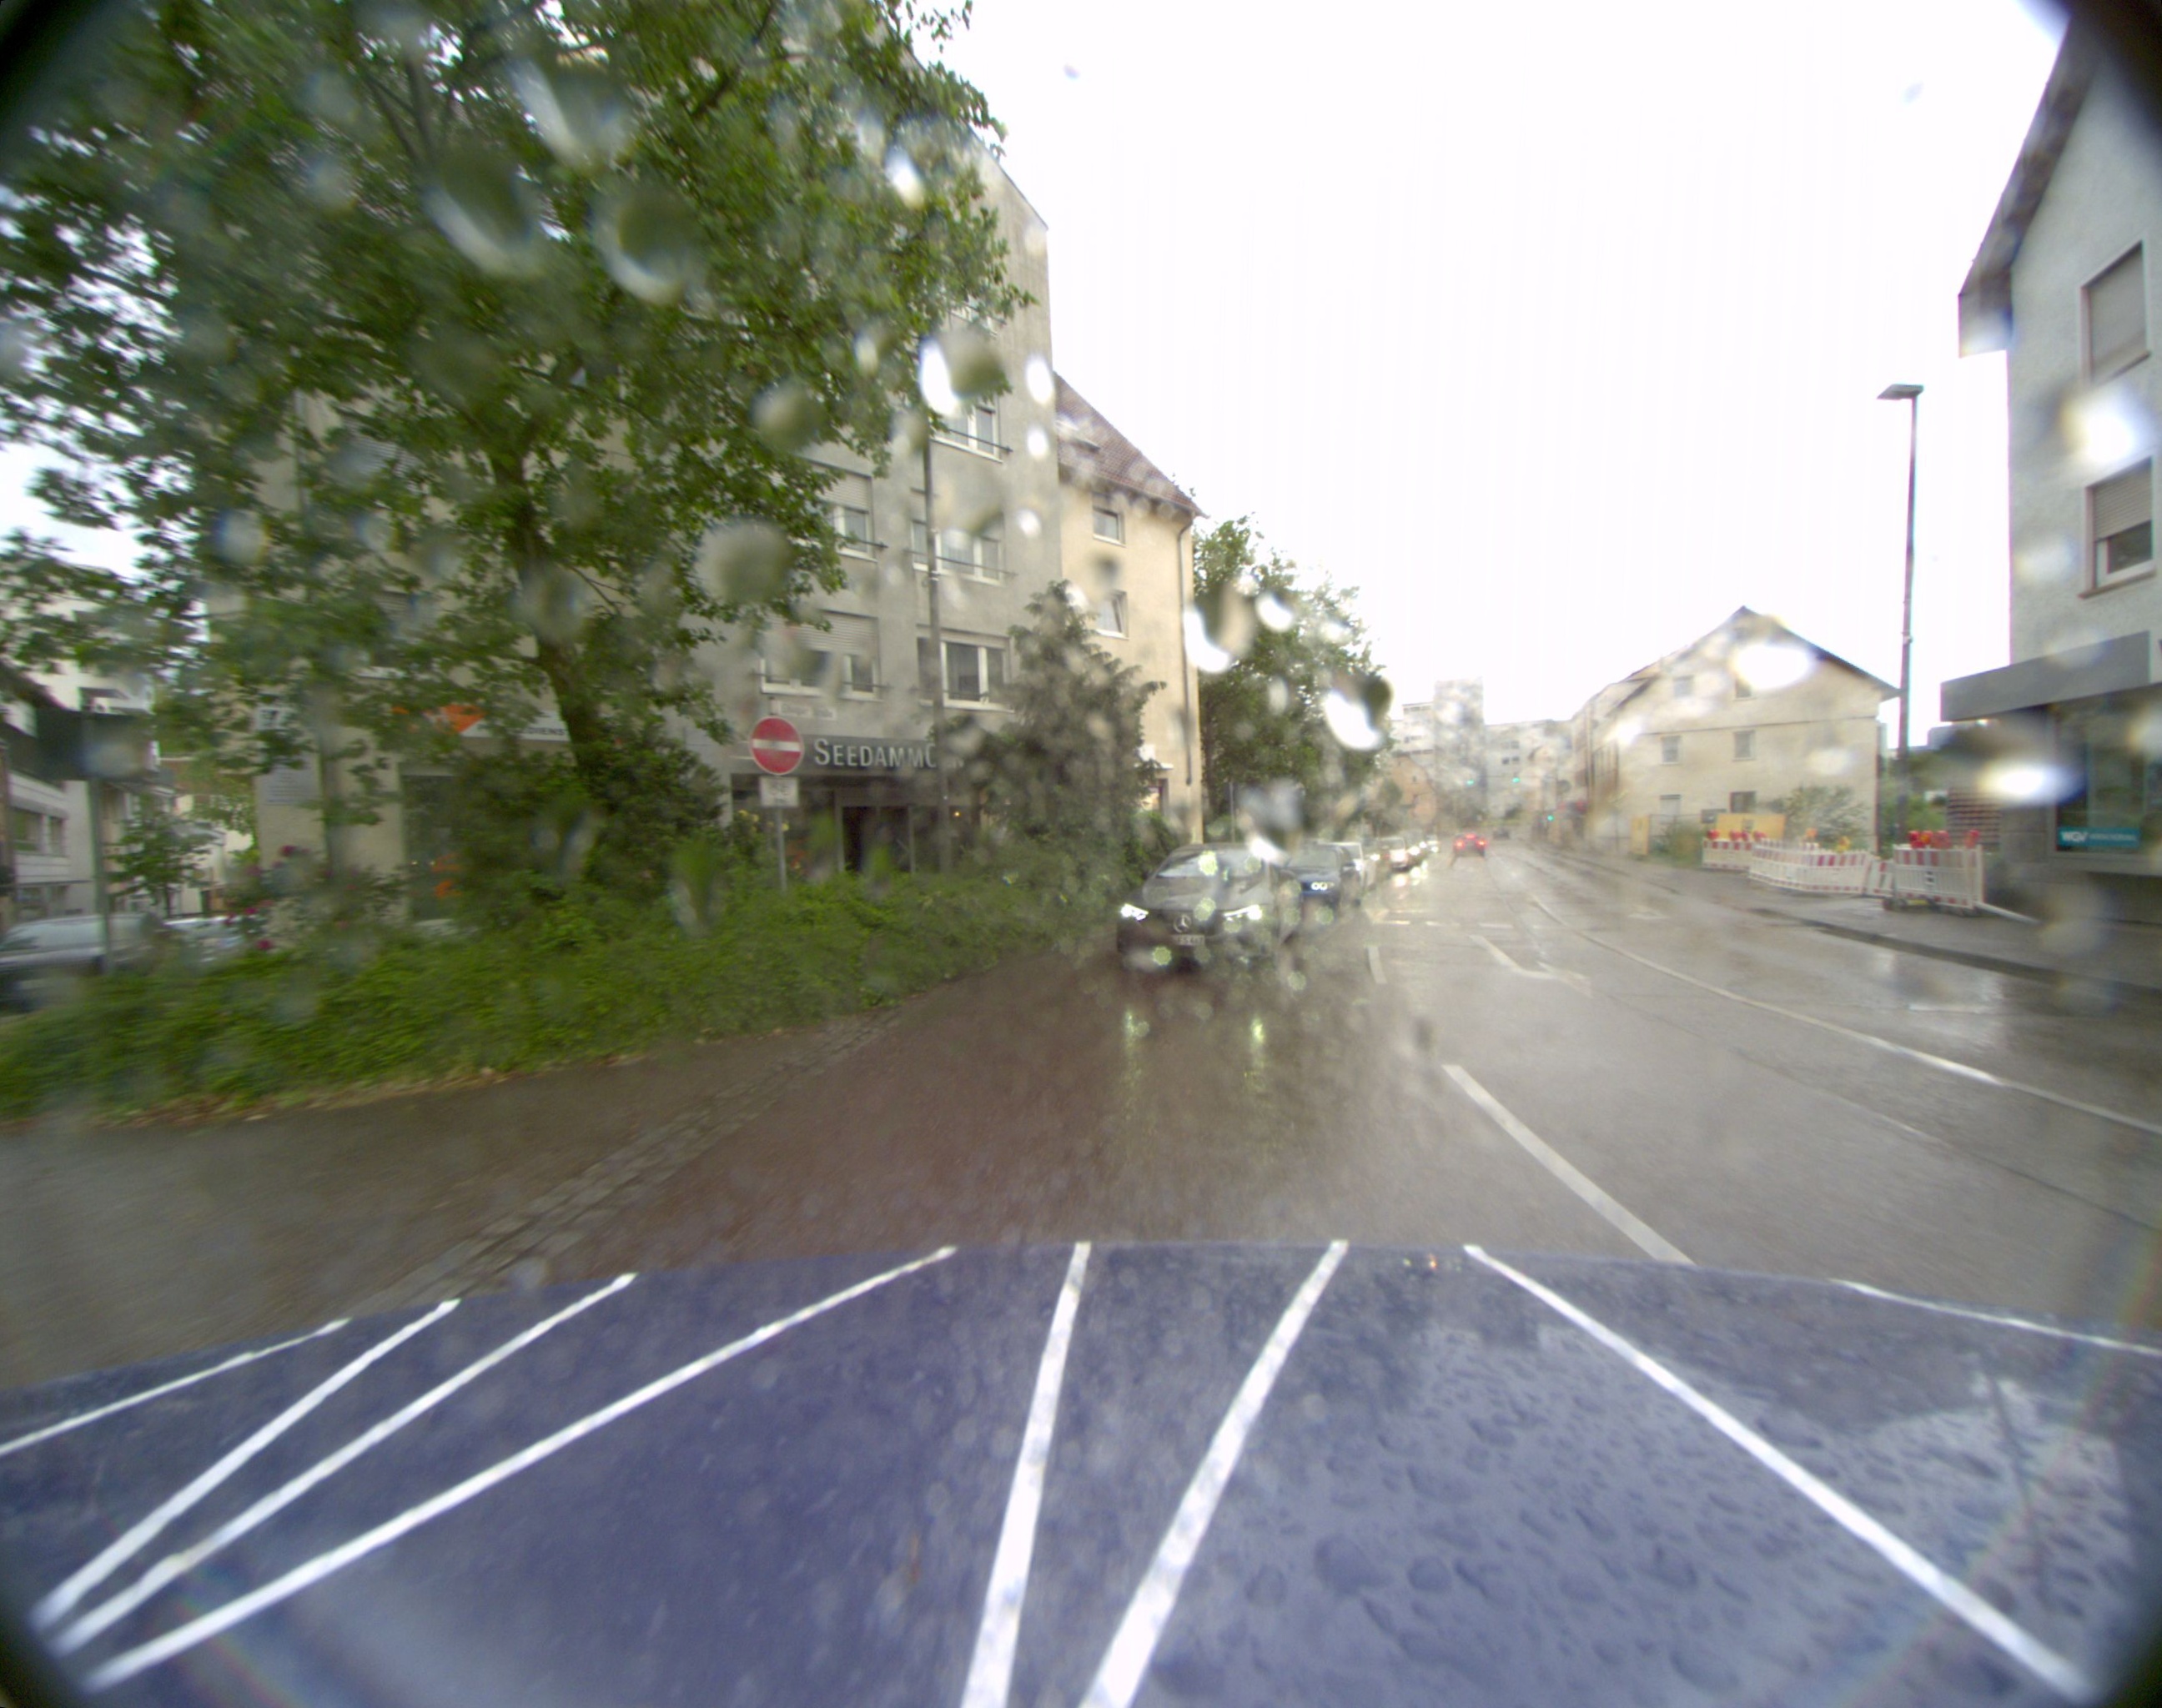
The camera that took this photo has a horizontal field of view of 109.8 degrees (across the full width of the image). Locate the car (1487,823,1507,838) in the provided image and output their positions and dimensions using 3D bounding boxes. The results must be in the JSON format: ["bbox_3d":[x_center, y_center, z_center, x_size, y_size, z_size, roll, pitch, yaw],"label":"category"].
[{"bbox_3d":[49.771,-2.840,90.920,1.810,1.556,4.006,-5,-1,27],"label":"car"}]

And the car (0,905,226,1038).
[{"bbox_3d":[-15.862,1.812,12.241,2.003,1.641,3.991,-8,1,-39],"label":"car"}]

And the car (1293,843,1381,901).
[{"bbox_3d":[7.560,0.467,22.232,1.995,1.444,4.006,-4,0,24],"label":"car"}]

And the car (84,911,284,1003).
[{"bbox_3d":[-19.516,2.136,16.777,2.004,1.564,3.990,-2,-1,-38],"label":"car"}]

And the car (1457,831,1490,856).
[{"bbox_3d":[26.347,-0.722,51.025,1.810,1.556,4.006,-3,0,27],"label":"car"}]

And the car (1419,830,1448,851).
[{"bbox_3d":[28.737,-1.076,62.072,1.995,1.542,4.007,-2,-1,23],"label":"car"}]

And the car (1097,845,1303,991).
[{"bbox_3d":[1.872,0.696,10.450,1.996,1.484,4.319,-2,1,19],"label":"car"}]

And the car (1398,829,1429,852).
[{"bbox_3d":[22.705,-0.938,51.815,1.850,1.469,4.006,-2,1,24],"label":"car"}]

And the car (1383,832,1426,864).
[{"bbox_3d":[17.627,-0.358,41.326,1.829,1.543,4.006,-3,0,26],"label":"car"}]

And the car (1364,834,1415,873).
[{"bbox_3d":[14.153,-0.078,34.717,1.841,1.612,4.006,-2,1,26],"label":"car"}]

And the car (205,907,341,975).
[{"bbox_3d":[-22.861,2.383,21.692,2.004,1.564,3.990,-2,-1,-38],"label":"car"}]

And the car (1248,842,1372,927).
[{"bbox_3d":[5.096,0.560,16.466,1.770,1.524,4.385,-2,1,27],"label":"car"}]

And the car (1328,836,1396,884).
[{"bbox_3d":[10.417,0.185,28.014,1.810,1.556,4.006,-3,0,27],"label":"car"}]

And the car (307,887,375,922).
[{"bbox_3d":[-38.254,2.567,39.363,2.004,1.565,3.990,-2,0,-38],"label":"car"}]
